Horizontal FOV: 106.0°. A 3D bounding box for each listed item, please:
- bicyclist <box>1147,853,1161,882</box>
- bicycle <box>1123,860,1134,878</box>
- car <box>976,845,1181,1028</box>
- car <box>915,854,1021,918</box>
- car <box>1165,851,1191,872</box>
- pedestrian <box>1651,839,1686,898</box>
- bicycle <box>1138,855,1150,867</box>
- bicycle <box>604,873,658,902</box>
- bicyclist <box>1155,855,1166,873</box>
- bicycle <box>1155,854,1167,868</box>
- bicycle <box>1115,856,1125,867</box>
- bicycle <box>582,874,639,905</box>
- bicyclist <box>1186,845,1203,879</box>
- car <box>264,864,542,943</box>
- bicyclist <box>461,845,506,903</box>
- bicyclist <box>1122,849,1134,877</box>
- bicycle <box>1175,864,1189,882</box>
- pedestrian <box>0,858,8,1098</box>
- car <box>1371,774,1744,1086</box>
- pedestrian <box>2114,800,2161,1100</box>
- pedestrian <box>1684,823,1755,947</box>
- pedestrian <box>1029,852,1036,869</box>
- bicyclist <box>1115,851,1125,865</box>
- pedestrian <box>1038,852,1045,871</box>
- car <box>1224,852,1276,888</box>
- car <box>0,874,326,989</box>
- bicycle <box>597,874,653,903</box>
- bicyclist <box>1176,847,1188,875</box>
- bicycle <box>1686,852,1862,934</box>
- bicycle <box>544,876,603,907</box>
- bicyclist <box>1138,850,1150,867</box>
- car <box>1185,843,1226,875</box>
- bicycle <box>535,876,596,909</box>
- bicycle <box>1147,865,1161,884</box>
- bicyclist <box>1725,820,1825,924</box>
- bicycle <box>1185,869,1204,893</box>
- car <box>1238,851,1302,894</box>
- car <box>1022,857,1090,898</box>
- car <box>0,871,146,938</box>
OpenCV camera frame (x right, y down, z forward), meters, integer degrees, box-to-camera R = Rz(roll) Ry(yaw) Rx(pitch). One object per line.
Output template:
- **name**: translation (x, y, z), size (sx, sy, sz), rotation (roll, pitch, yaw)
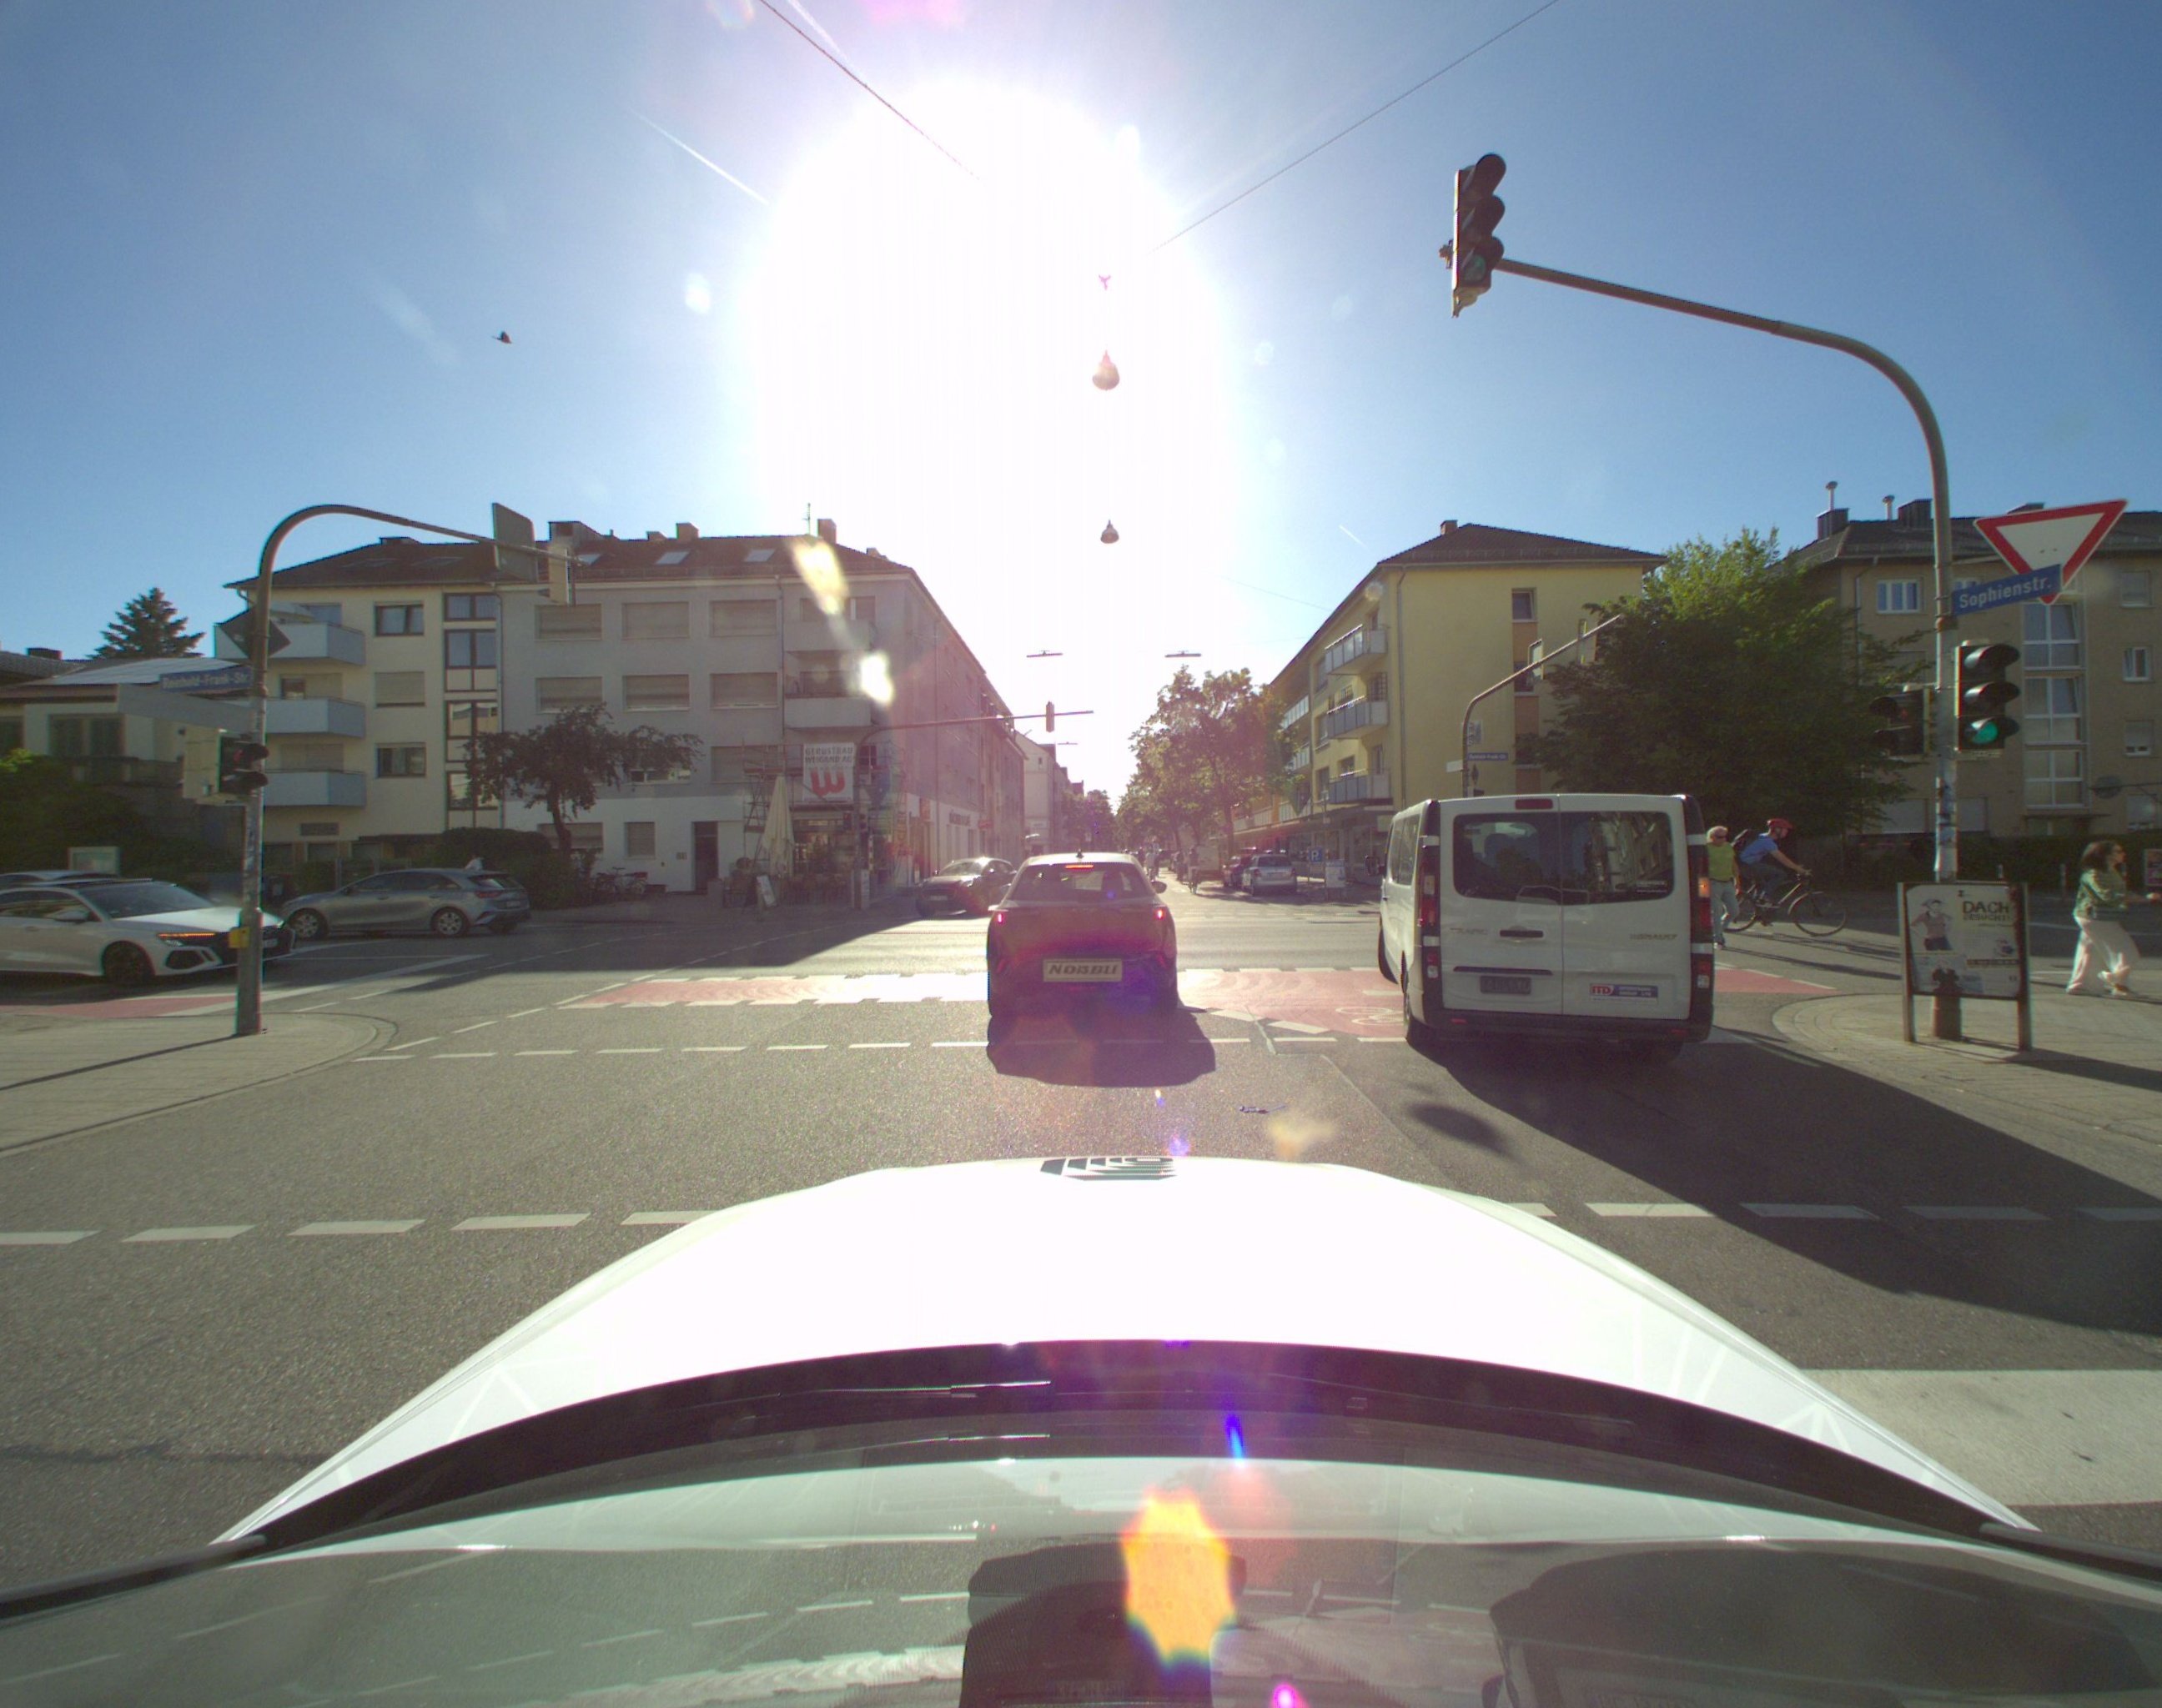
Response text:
- **bicyclist**: translation (3.480, 0.632, 38.879), size (0.586, 1.382, 0.823), rotation (-1, 0, 3)
- **bicycle**: translation (2.942, 0.910, 50.873), size (0.630, 1.041, 1.796), rotation (-2, 0, 2)
- **car**: translation (0.049, 0.725, 9.068), size (1.755, 1.558, 4.002), rotation (-1, 0, 2)
- **car**: translation (-3.005, 0.825, 22.502), size (1.581, 1.566, 4.102), rotation (-2, -1, 11)
- **car**: translation (7.300, 0.570, 61.404), size (1.706, 1.483, 3.383), rotation (-1, 0, 2)
- **pedestrian**: translation (15.723, 0.384, 21.810), size (0.537, 1.571, 0.539), rotation (-1, 0, 2)
- **bicycle**: translation (5.006, 0.544, 64.851), size (0.853, 0.945, 2.308), rotation (1, 0, 2)
- **bicycle**: translation (-15.609, 1.157, 28.277), size (1.581, 0.940, 0.513), rotation (-1, 0, 4)
- **bicyclist**: translation (5.132, 0.637, 52.561), size (0.689, 1.193, 0.595), rotation (-1, 0, 3)
- **bicycle**: translation (5.112, 0.452, 52.361), size (0.688, 0.866, 1.878), rotation (-1, 0, 3)
- **bicycle**: translation (3.718, 0.705, 77.954), size (0.853, 0.945, 2.308), rotation (1, 0, 2)
- **bicycle**: translation (-15.436, 1.167, 26.712), size (1.581, 0.940, 0.513), rotation (-1, 0, 4)
- **bicyclist**: translation (4.371, 0.306, 31.422), size (0.544, 1.262, 0.803), rotation (-1, 0, 3)
- **car**: translation (-14.138, 0.994, 17.205), size (4.155, 1.433, 1.840), rotation (-1, 0, -5)
- **bicyclist**: translation (-16.341, 0.539, 22.280), size (0.809, 1.549, 0.555), rotation (0, 0, 1)
- **bicyclist**: translation (2.915, 0.560, 50.710), size (0.630, 1.669, 1.051), rotation (-2, 0, 2)
- **bicycle**: translation (5.138, 0.952, 41.439), size (0.544, 0.866, 1.878), rotation (-1, 0, 3)
- **pedestrian**: translation (-7.405, 0.821, 5.127), size (0.529, 1.581, 0.563), rotation (-1, 0, 3)
- **car**: translation (3.922, 0.477, 7.762), size (1.953, 1.940, 5.078), rotation (0, 0, 17)
- **pedestrian**: translation (6.968, 0.576, 5.009), size (0.598, 1.822, 0.632), rotation (-1, 0, 38)
- **pedestrian**: translation (9.357, 0.440, 11.954), size (0.523, 1.762, 0.623), rotation (-1, 0, 0)
- **pedestrian**: translation (-4.229, 0.599, 71.409), size (0.575, 1.467, 0.702), rotation (-1, 0, -3)
- **bicyclist**: translation (3.727, 0.384, 77.946), size (0.853, 1.314, 1.211), rotation (1, 0, 2)
- **pedestrian**: translation (-3.420, 0.662, 71.154), size (0.575, 1.583, 0.707), rotation (-1, 0, -3)
- **car**: translation (7.299, 0.654, 35.407), size (1.706, 1.483, 3.383), rotation (-1, 0, 2)
- **car**: translation (-14.467, 1.119, 12.354), size (4.235, 1.435, 1.937), rotation (0, 3, 4)
- **bicycle**: translation (-15.431, 1.171, 27.568), size (1.581, 0.940, 0.513), rotation (-1, 0, 4)
- **bicyclist**: translation (5.122, 0.363, 41.341), size (0.544, 1.382, 0.823), rotation (-1, 0, 3)
- **bicycle**: translation (11.411, 0.607, 13.521), size (2.111, 1.255, 0.809), rotation (0, 2, 29)
- **bicycle**: translation (-16.126, 1.192, 25.889), size (1.581, 0.940, 0.513), rotation (-1, 0, 4)
- **bicyclist**: translation (5.014, 0.323, 64.886), size (0.853, 1.314, 1.211), rotation (1, 0, 2)
- **car**: translation (7.469, 0.282, 49.257), size (2.037, 1.846, 4.588), rotation (-1, 0, 3)
- **bicycle**: translation (-15.963, 1.192, 25.242), size (1.581, 0.940, 0.513), rotation (-1, 0, 4)
- **bicycle**: translation (3.489, 0.965, 38.952), size (0.617, 0.866, 1.878), rotation (-1, 0, 3)
- **bicyclist**: translation (11.446, 0.265, 13.477), size (1.111, 1.649, 0.809), rotation (0, 2, 29)
- **bicycle**: translation (4.389, 1.025, 31.537), size (0.544, 0.866, 1.878), rotation (-1, 0, 3)
- **car**: translation (7.080, 0.663, 30.814), size (1.706, 1.483, 3.482), rotation (-1, 0, 2)
- **car**: translation (-0.908, 0.879, 32.489), size (1.794, 1.413, 4.438), rotation (-3, 0, 10)
- **car**: translation (-27.091, 1.283, 20.883), size (3.972, 1.519, 1.917), rotation (-1, 1, 1)
